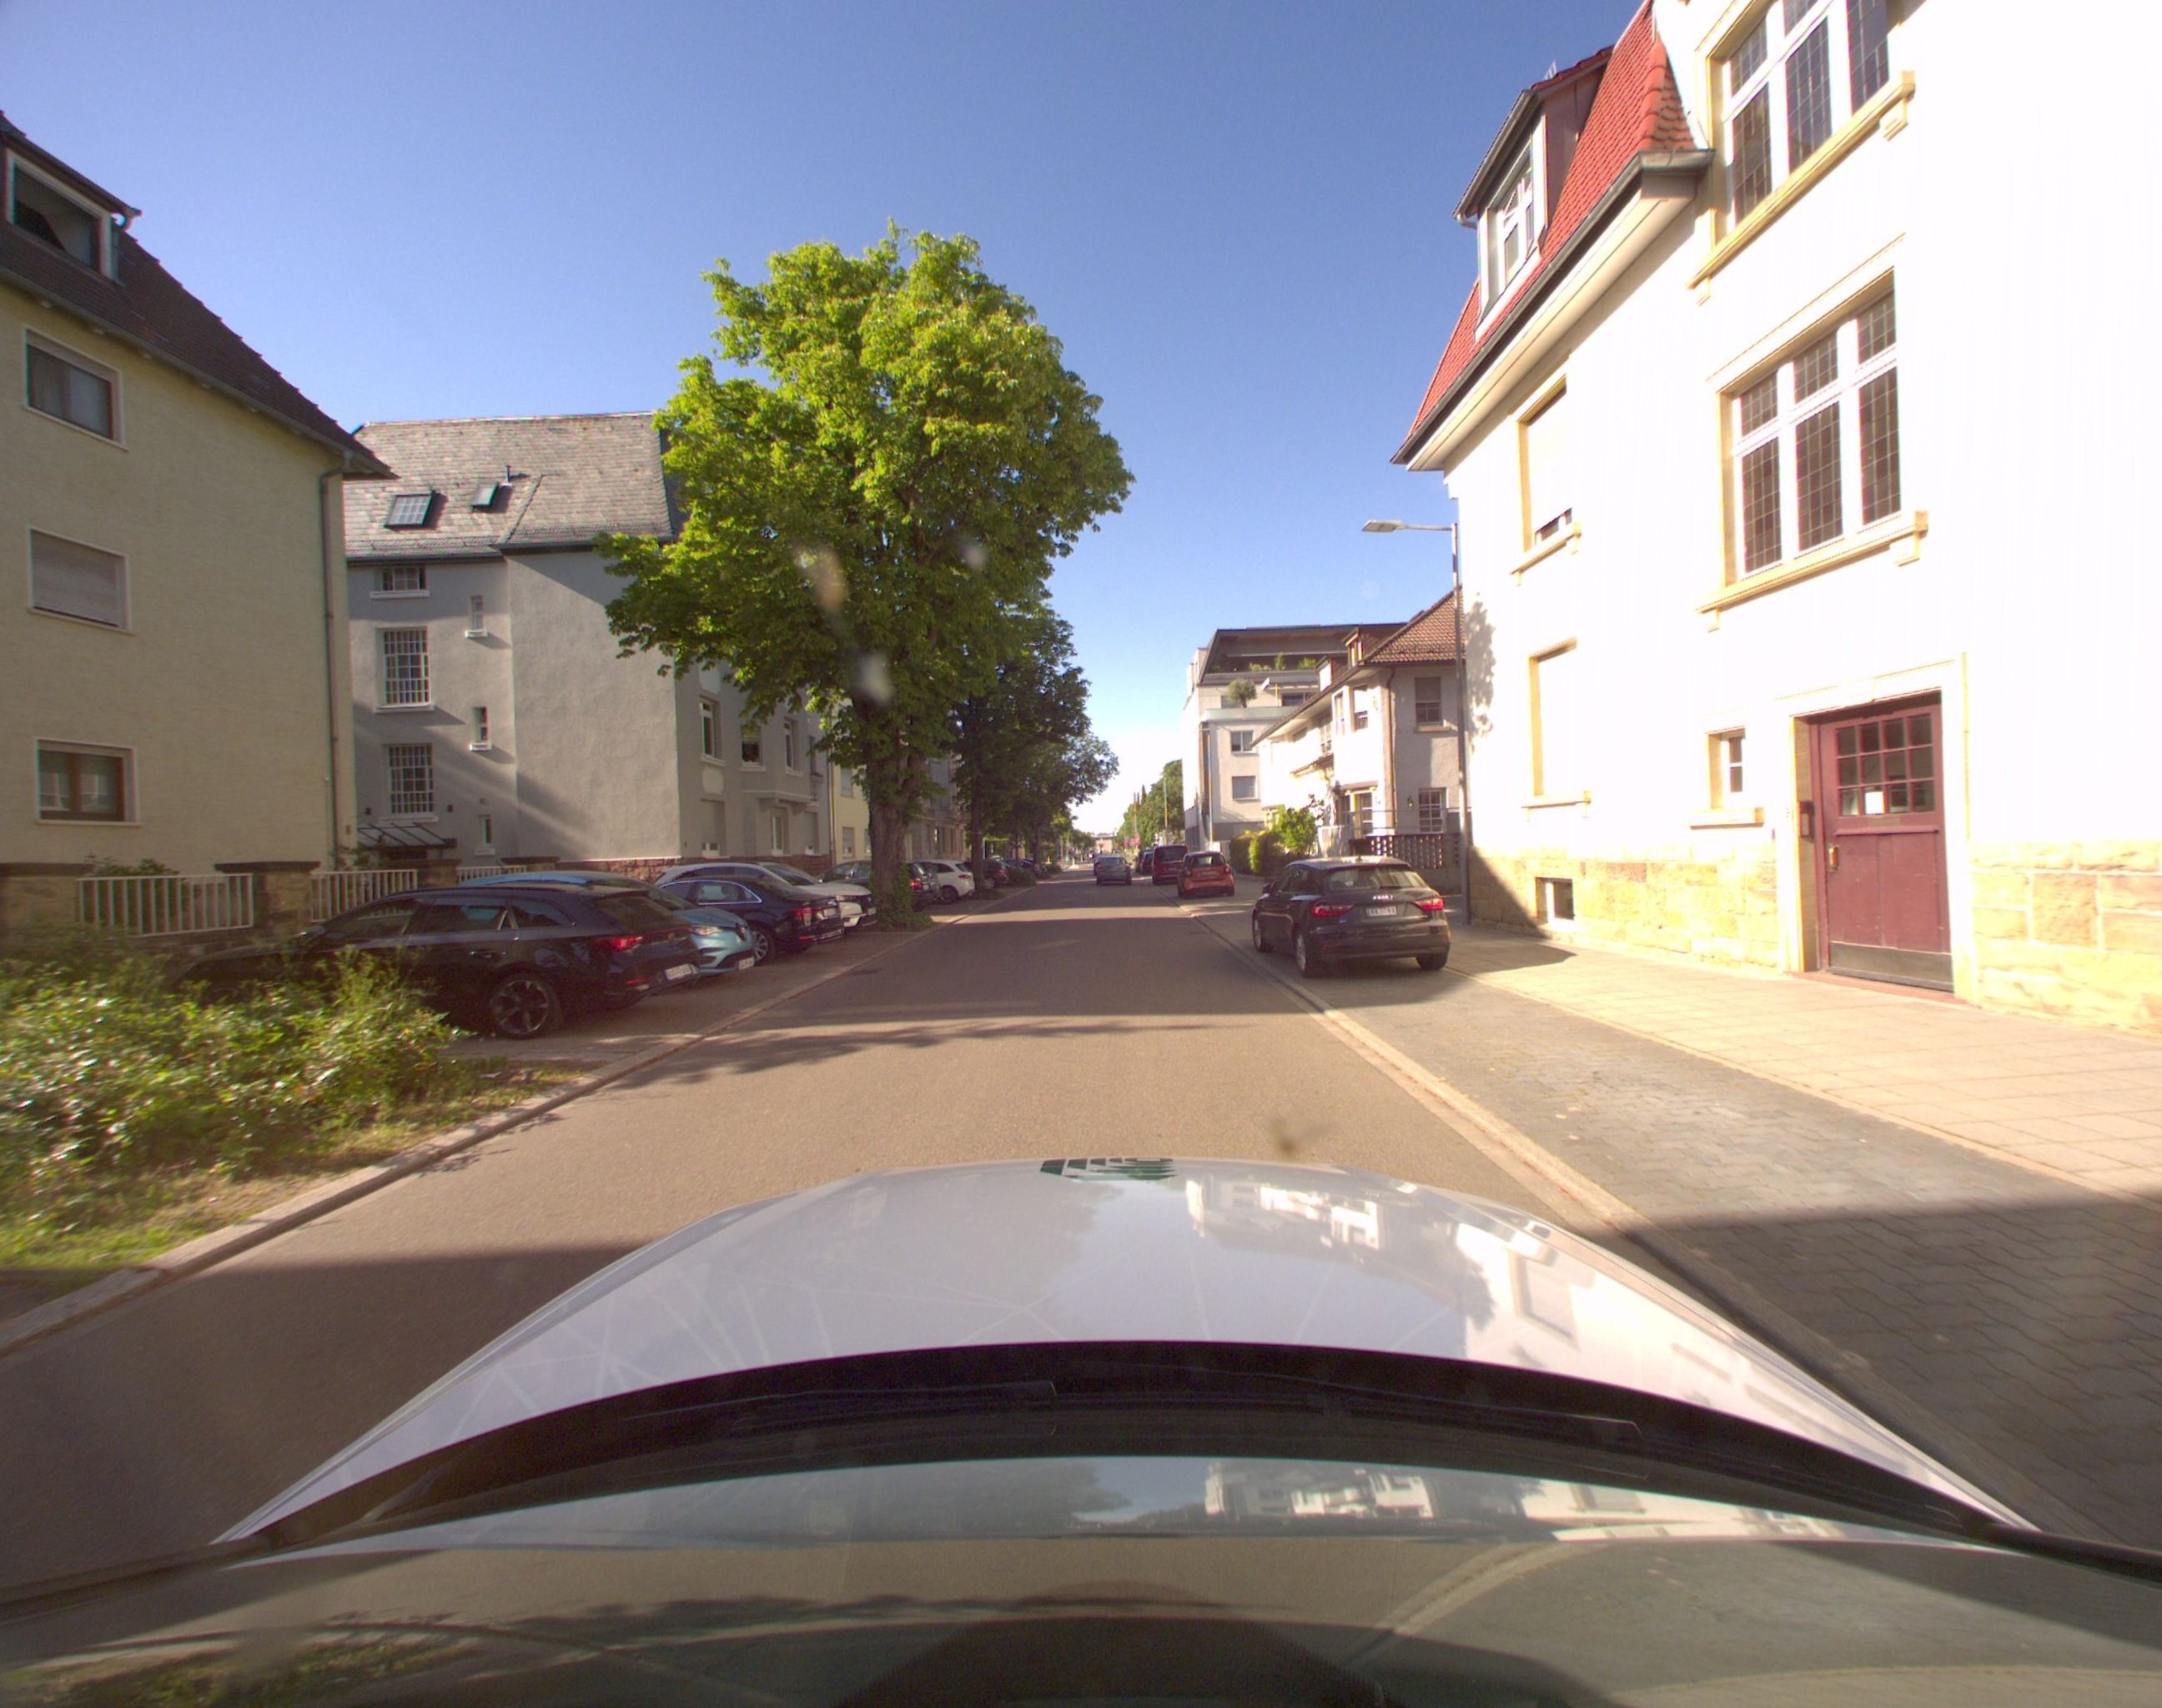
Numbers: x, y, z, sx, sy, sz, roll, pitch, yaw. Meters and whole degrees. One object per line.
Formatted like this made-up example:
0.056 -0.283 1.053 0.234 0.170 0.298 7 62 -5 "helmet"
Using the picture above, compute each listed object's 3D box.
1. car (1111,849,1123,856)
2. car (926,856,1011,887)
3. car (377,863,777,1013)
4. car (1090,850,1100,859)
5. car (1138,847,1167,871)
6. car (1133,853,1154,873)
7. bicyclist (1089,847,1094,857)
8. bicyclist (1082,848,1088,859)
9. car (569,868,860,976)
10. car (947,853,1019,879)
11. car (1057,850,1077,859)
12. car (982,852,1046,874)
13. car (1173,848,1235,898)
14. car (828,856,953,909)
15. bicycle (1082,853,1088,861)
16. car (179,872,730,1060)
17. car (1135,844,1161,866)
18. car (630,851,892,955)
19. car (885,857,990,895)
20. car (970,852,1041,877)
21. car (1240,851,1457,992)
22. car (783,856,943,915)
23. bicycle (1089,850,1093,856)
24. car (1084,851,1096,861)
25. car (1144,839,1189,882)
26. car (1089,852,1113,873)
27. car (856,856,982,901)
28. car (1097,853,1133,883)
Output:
6.674 -0.292 151.932 1.718 1.330 3.996 -2 0 -3 "car"
-5.610 0.883 41.036 3.973 1.421 1.771 -1 2 0 "car"
-6.371 1.011 10.669 3.974 1.592 1.878 -2 0 0 "car"
3.011 0.155 173.312 1.783 1.532 3.996 -5 -2 -2 "car"
4.989 0.304 56.978 1.730 1.531 4.180 -2 0 2 "car"
5.133 0.758 67.175 1.558 1.410 3.732 -6 -1 3 "car"
1.656 -0.298 131.333 0.677 1.509 0.655 -2 0 3 "bicyclist"
0.512 -0.087 109.140 0.718 1.537 1.137 -2 0 2 "bicyclist"
-5.935 1.078 13.503 3.973 1.468 1.697 -2 0 1 "car"
-5.749 0.694 48.284 4.166 1.500 1.996 0 -1 -6 "car"
-2.521 0.075 144.508 3.488 1.533 1.642 -2 0 -5 "car"
-4.841 0.676 59.450 4.460 1.479 1.868 -1 -1 -1 "car"
4.107 0.590 27.633 1.586 1.480 3.248 -4 0 2 "car"
-6.070 0.888 26.217 3.499 1.575 1.773 -1 0 4 "car"
0.554 0.386 109.111 0.716 1.079 1.892 0 -1 3 "bicycle"
-6.174 1.052 8.434 4.173 1.498 1.861 -2 0 0 "car"
5.152 0.113 62.816 1.676 1.435 4.267 -6 -1 2 "car"
-6.258 0.927 16.273 4.368 1.652 1.825 -3 2 2 "car"
-5.660 0.845 32.350 4.022 1.444 1.794 0 -1 -10 "car"
-4.911 0.690 53.677 4.460 1.479 1.868 -1 -1 -1 "car"
3.414 0.756 11.195 1.614 1.439 3.935 -5 1 0 "car"
-6.190 0.881 23.467 3.969 1.575 1.983 -1 0 4 "car"
1.647 -0.198 131.307 0.586 0.931 1.852 -2 1 3 "bicycle"
1.629 0.419 149.740 1.868 1.728 3.996 -2 1 -3 "car"
4.180 0.314 40.424 1.864 1.905 5.201 -3 0 3 "car"
1.511 0.640 60.714 1.701 1.448 4.203 0 -1 1 "car"
-5.625 0.824 28.595 4.008 1.484 1.807 0 0 1 "car"
1.743 0.697 41.579 1.719 1.420 3.963 0 -1 3 "car"
